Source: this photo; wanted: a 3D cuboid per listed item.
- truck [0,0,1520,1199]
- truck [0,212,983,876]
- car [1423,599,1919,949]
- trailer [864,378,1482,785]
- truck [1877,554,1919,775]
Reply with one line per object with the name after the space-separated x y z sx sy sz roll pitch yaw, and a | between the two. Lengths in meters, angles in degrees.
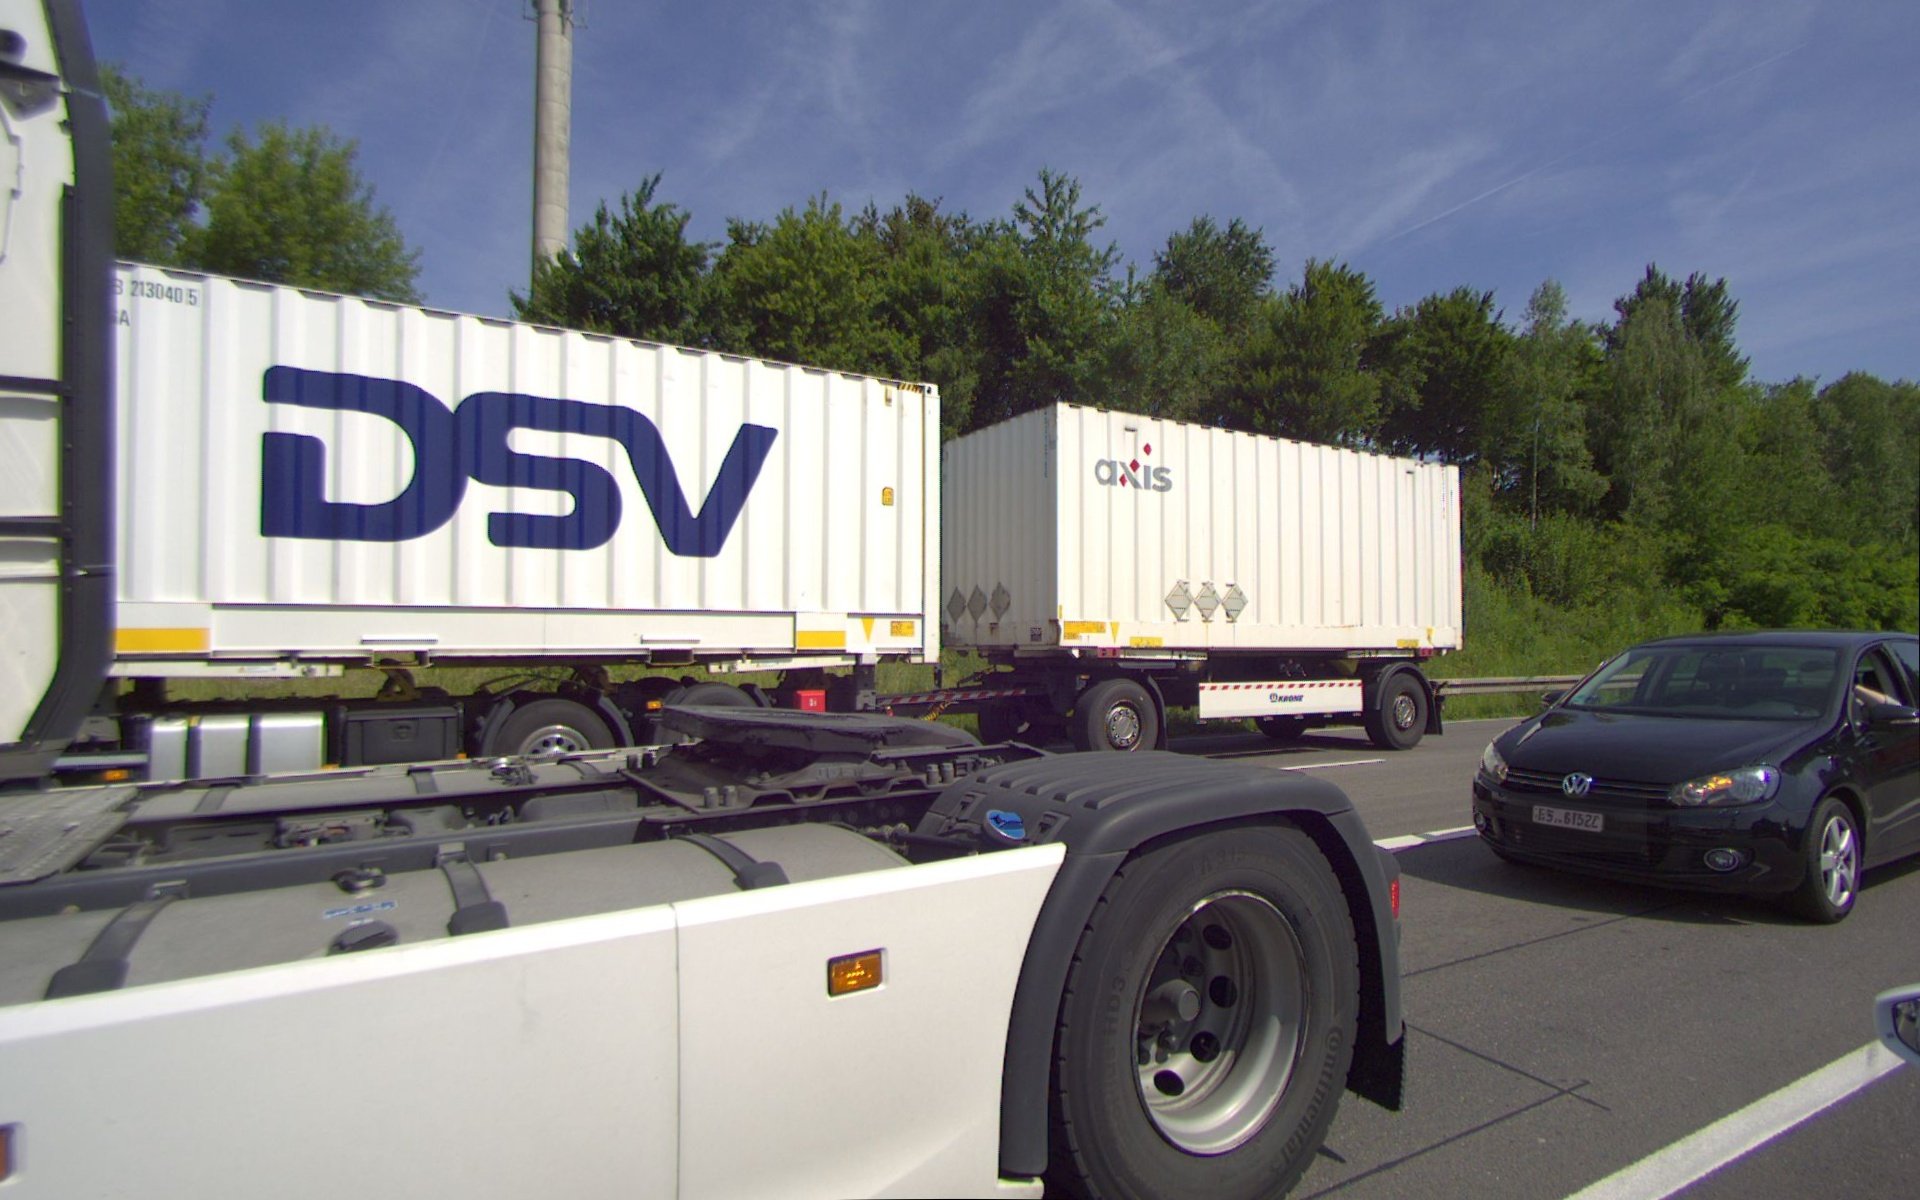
-1.554 -0.690 2.575 6.196 4.141 2.524 2 -3 -32 | truck
-4.564 -0.244 8.844 9.573 4.170 2.815 2 -3 -32 | truck
4.942 0.869 6.318 4.061 1.572 1.703 2 -3 -31 | car
3.218 -0.035 13.659 8.657 4.123 2.826 2 -3 -32 | trailer
13.144 0.734 11.398 6.424 2.297 2.217 2 -3 -30 | truck
